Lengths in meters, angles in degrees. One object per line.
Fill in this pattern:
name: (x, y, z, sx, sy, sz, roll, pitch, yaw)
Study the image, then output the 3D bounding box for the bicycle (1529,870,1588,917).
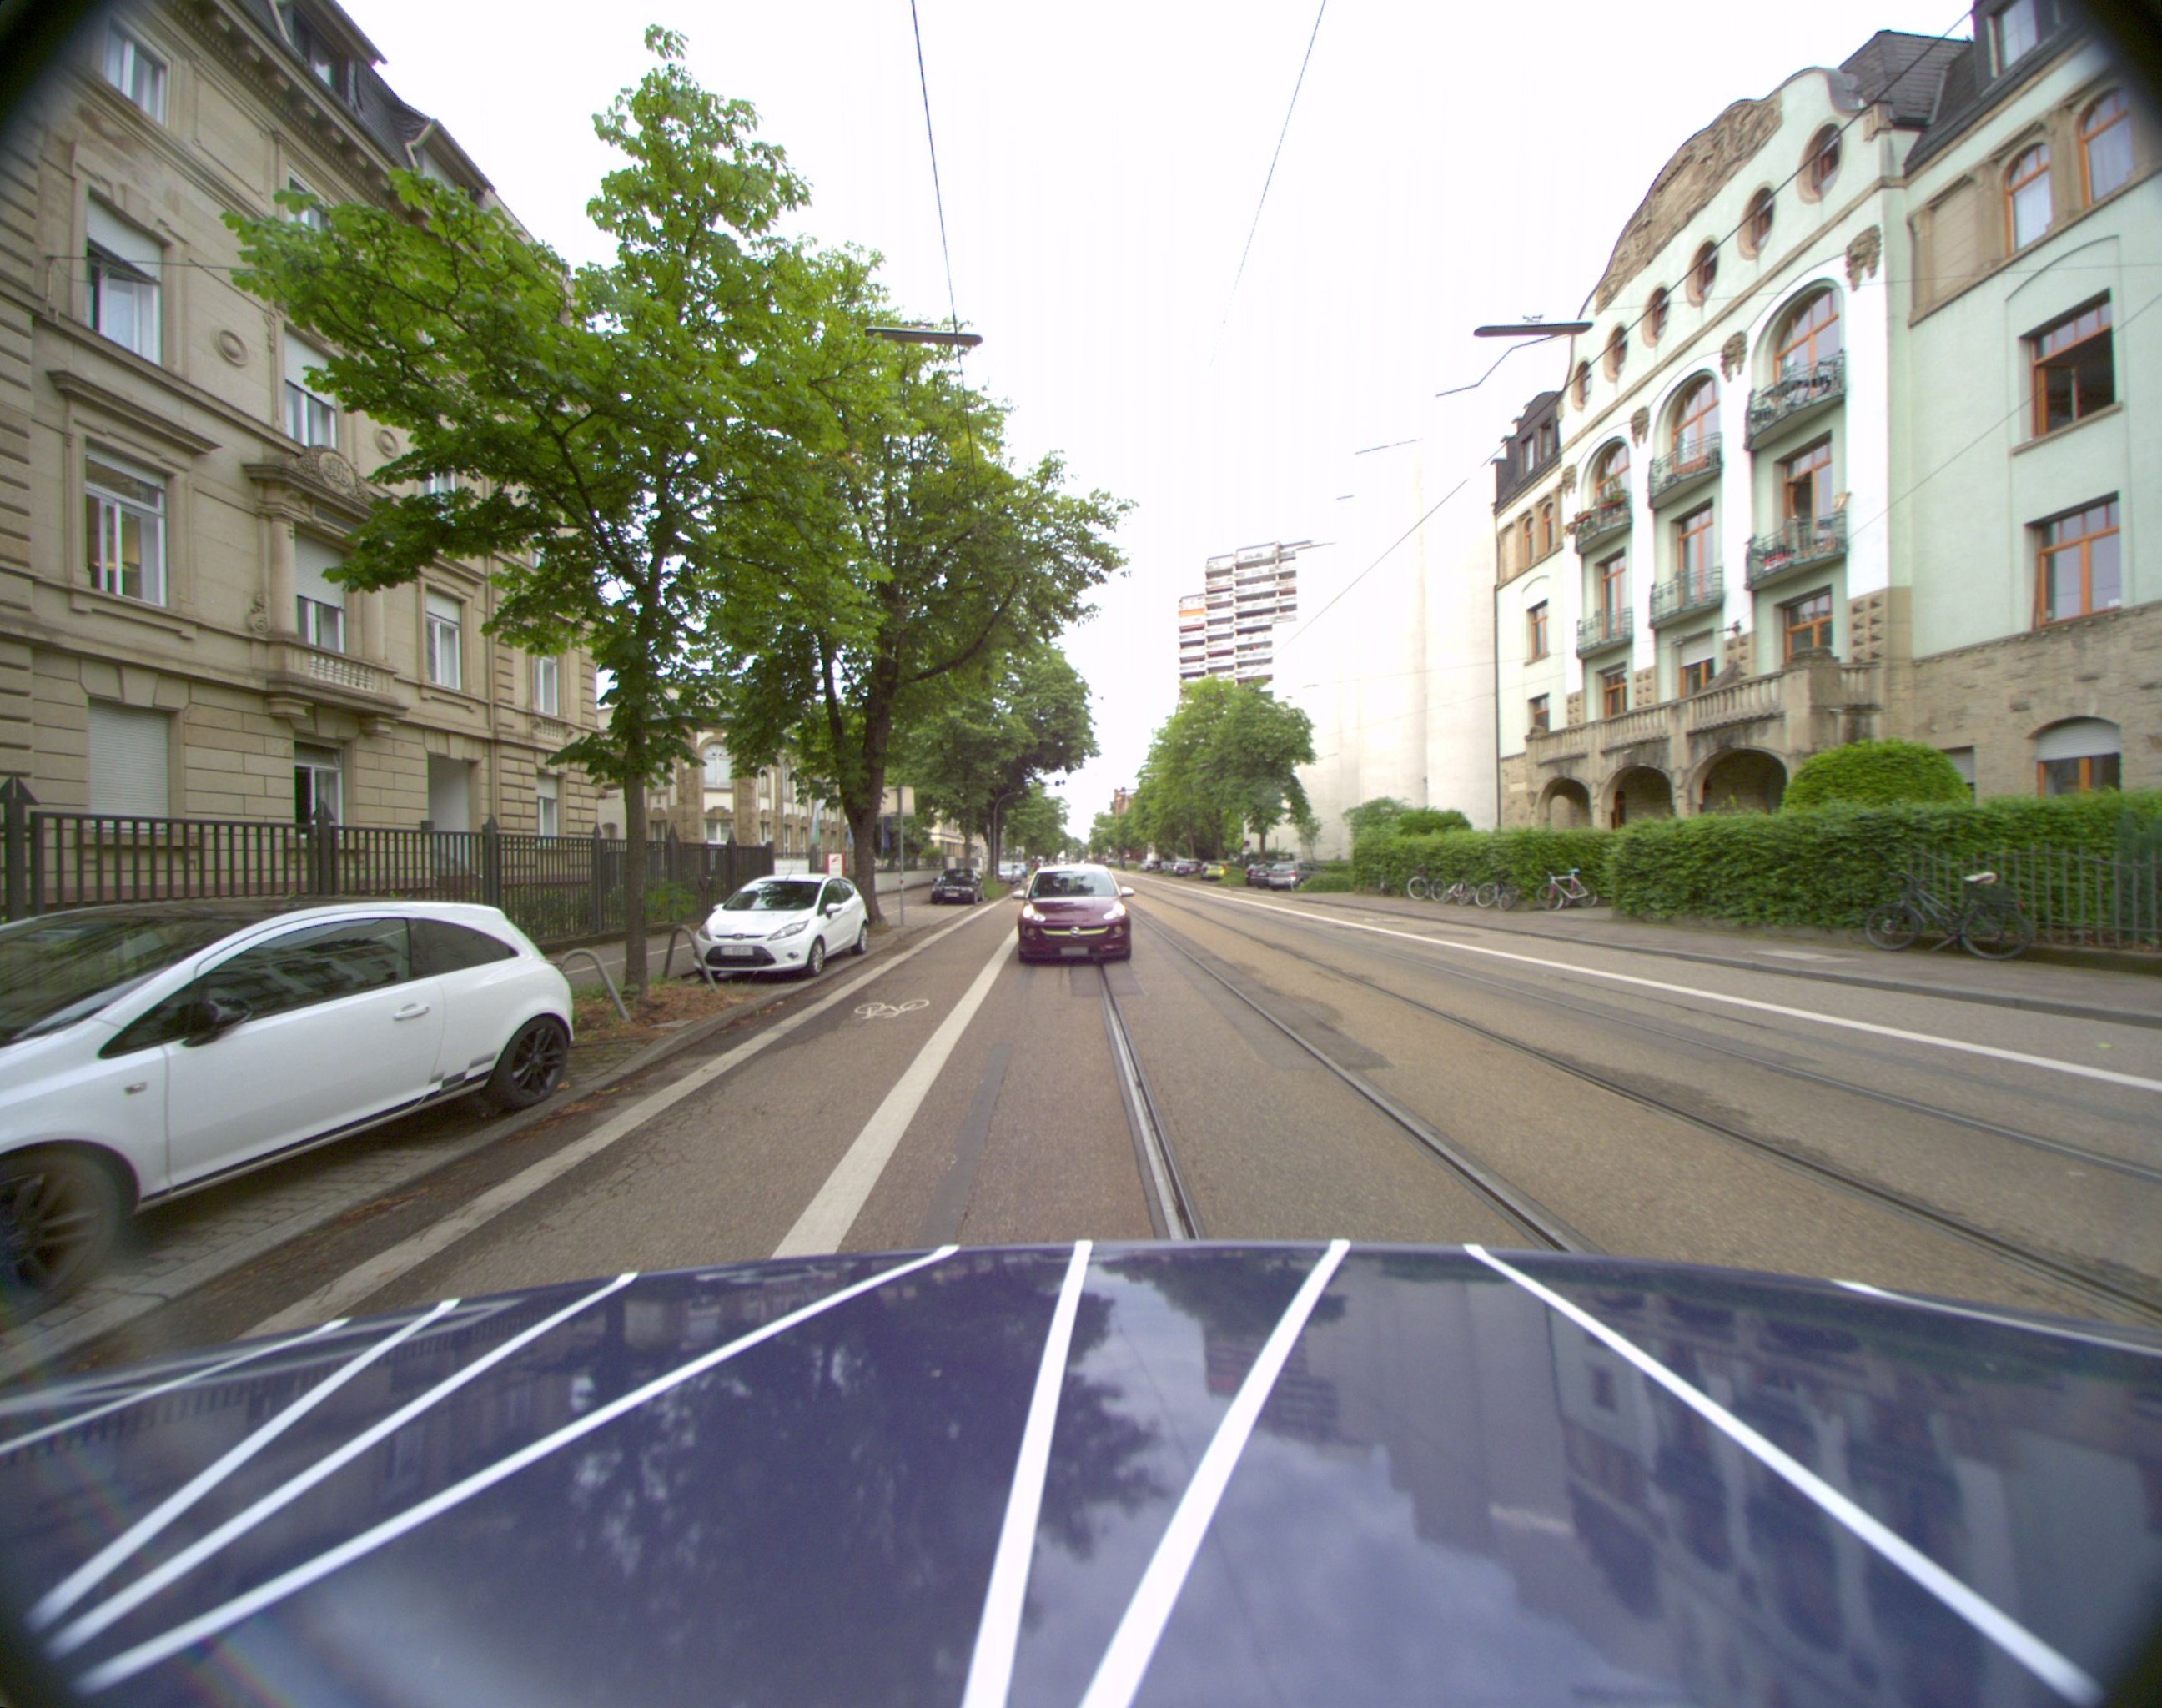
bicycle: (11.820, 0.971, 18.809, 1.205, 1.077, 0.300, -3, 0, 1)

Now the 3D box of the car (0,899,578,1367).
car: (-4.519, 1.048, 3.689, 1.606, 1.427, 3.776, 1, 0, 0)

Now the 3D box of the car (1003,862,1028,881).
car: (-5.167, 1.367, 60.307, 1.606, 1.416, 3.836, 1, 0, -1)

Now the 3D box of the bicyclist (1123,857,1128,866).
bicyclist: (6.428, 1.122, 109.805, 0.752, 1.247, 0.875, -1, 0, 0)

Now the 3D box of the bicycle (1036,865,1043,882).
bicycle: (-3.082, 1.428, 56.317, 0.414, 1.197, 1.707, -1, 0, 0)

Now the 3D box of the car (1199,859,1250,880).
car: (10.715, 1.143, 56.474, 4.008, 1.434, 1.690, -1, 0, -44)

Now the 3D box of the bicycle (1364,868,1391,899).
bicycle: (10.791, 1.047, 27.713, 0.360, 1.077, 1.546, -1, 0, -1)

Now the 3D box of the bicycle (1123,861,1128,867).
bicycle: (6.480, 1.469, 109.747, 0.568, 0.784, 1.890, -1, 0, -1)

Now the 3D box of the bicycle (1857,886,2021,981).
bicycle: (11.055, 0.987, 9.862, 0.360, 1.077, 1.546, -1, 0, -1)

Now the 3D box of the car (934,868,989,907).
car: (-4.740, 1.290, 30.515, 1.606, 1.362, 3.836, 1, 0, -1)

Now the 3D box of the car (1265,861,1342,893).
car: (10.932, 1.091, 37.253, 4.008, 1.395, 1.691, -1, 0, -40)

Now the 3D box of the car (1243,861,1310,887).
car: (11.147, 1.112, 43.256, 4.008, 1.395, 1.691, -1, 0, -40)

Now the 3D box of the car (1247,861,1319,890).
car: (10.704, 1.113, 40.083, 4.008, 1.395, 1.691, -1, 0, -40)

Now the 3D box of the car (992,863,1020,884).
car: (-5.188, 1.333, 52.964, 1.606, 1.362, 3.836, 1, 0, -1)

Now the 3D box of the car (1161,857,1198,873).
car: (10.323, 1.120, 79.609, 4.008, 1.611, 1.690, -1, 0, -44)

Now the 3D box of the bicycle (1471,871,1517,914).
bicycle: (10.913, 0.995, 20.125, 0.360, 1.077, 1.546, -1, 0, -1)

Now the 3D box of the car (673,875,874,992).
car: (-4.588, 1.112, 11.952, 1.631, 1.427, 3.764, 1, 0, -1)

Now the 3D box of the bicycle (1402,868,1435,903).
bicycle: (10.876, 0.997, 24.531, 0.360, 1.077, 1.546, -1, 0, -1)

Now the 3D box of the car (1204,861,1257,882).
car: (10.534, 1.180, 53.421, 4.008, 1.386, 1.690, -1, 0, -44)

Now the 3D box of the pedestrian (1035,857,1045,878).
pedestrian: (-3.062, 1.025, 56.145, 0.684, 1.541, 0.704, -1, 0, 0)

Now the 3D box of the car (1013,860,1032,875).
car: (-5.581, 1.295, 72.731, 1.606, 1.362, 3.836, 1, 0, -1)

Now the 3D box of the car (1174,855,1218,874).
car: (10.026, 0.908, 66.188, 4.008, 1.611, 1.690, -1, 0, -44)

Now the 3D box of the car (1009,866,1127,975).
car: (-0.178, 0.968, 12.591, 1.606, 1.427, 3.776, -2, 0, 0)

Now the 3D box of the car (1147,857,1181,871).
car: (9.783, 1.144, 89.434, 4.008, 1.611, 1.690, -1, 0, -44)

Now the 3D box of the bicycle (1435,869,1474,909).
bicycle: (10.838, 0.996, 22.091, 0.360, 1.077, 1.546, -1, 0, -1)
